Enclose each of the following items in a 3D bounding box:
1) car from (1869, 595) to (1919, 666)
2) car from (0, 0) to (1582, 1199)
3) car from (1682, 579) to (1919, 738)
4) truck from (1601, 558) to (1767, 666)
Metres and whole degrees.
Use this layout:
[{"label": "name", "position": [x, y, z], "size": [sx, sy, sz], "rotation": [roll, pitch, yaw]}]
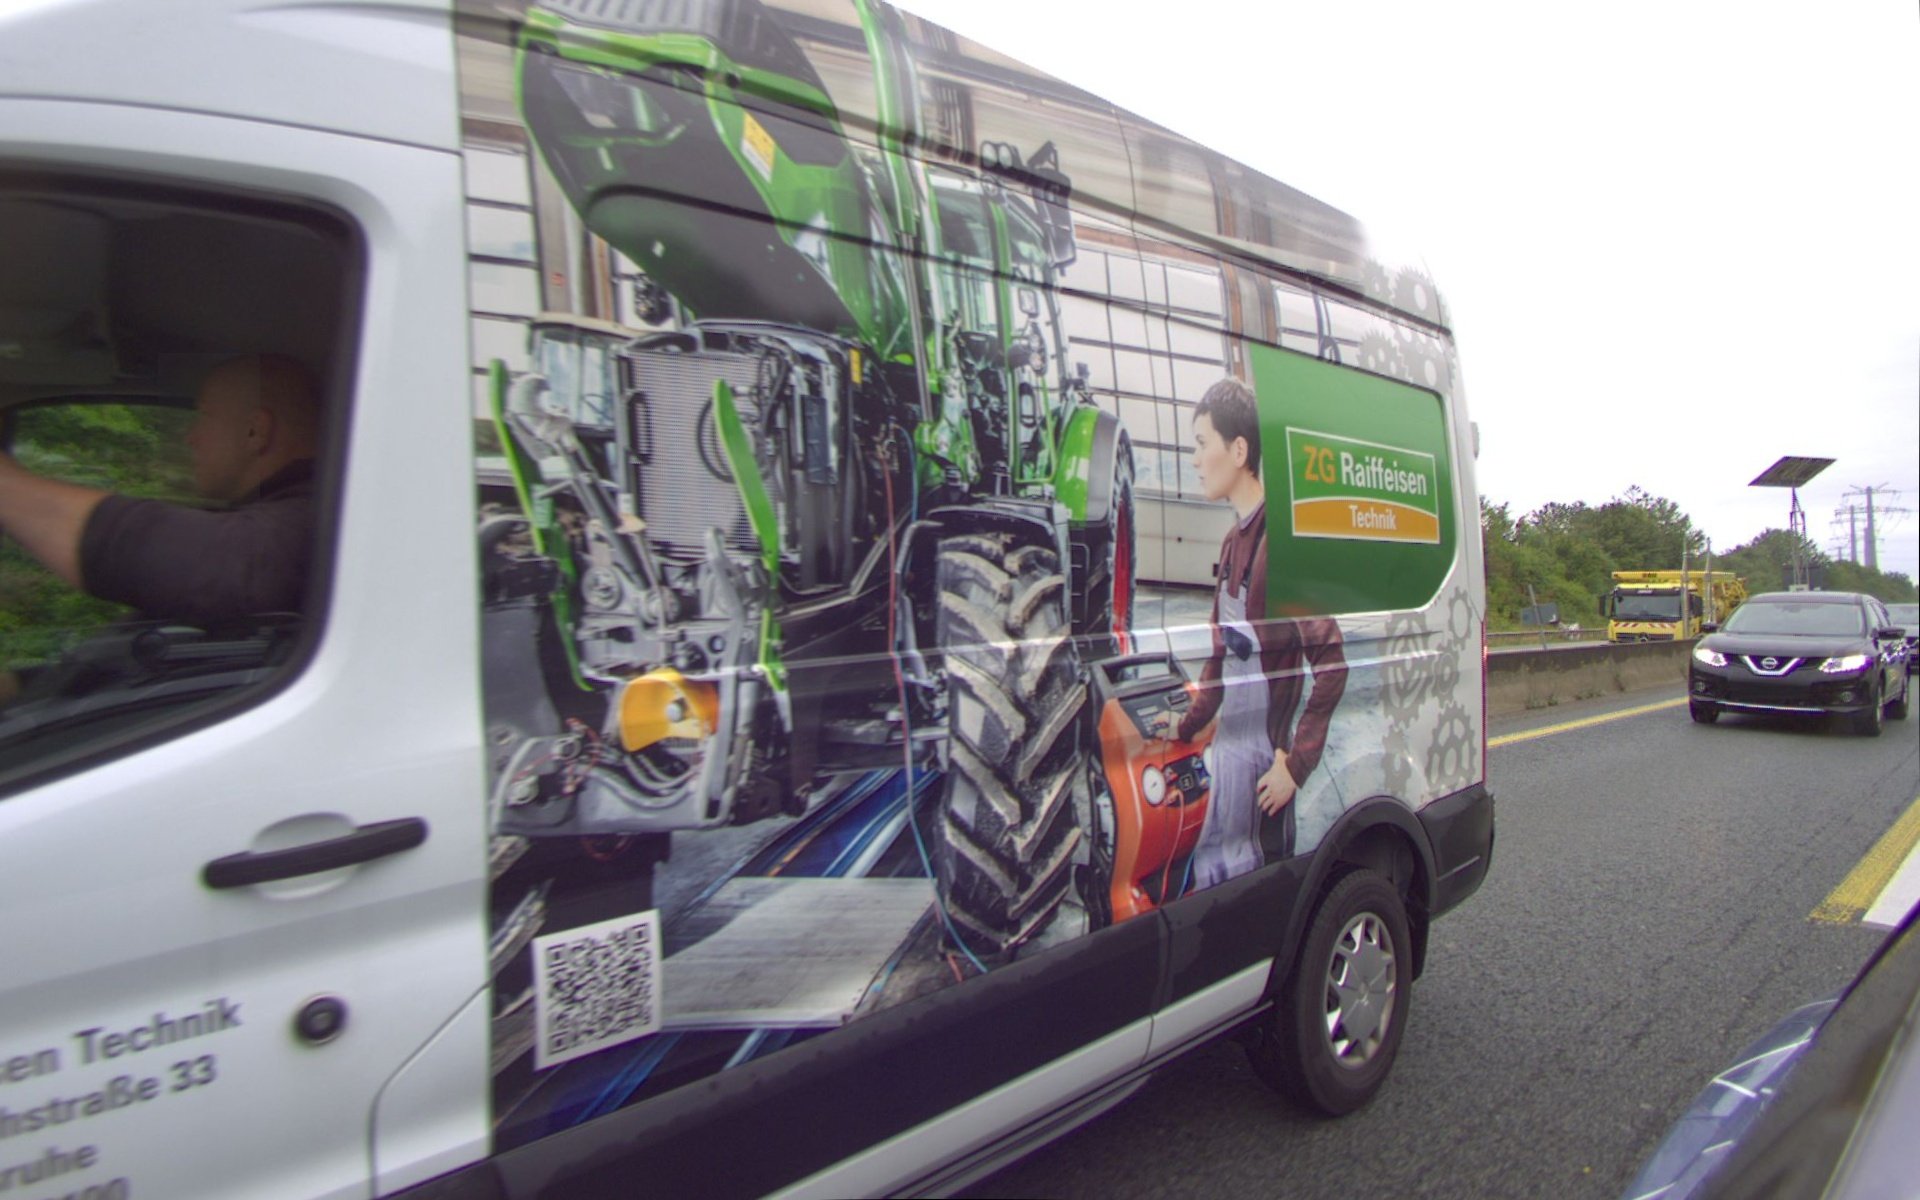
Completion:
[{"label": "car", "position": [22.208, 0.659, 23.114], "size": [4.053, 1.509, 1.782], "rotation": [0, 0, -42]}, {"label": "car", "position": [-0.712, 0.022, 2.576], "size": [6.009, 2.709, 2.148], "rotation": [0, 0, -40]}, {"label": "car", "position": [11.014, 0.604, 13.037], "size": [4.562, 1.696, 1.892], "rotation": [0, 0, -42]}, {"label": "truck", "position": [26.181, 0.348, 36.375], "size": [9.406, 3.467, 2.618], "rotation": [0, 0, -40]}]
